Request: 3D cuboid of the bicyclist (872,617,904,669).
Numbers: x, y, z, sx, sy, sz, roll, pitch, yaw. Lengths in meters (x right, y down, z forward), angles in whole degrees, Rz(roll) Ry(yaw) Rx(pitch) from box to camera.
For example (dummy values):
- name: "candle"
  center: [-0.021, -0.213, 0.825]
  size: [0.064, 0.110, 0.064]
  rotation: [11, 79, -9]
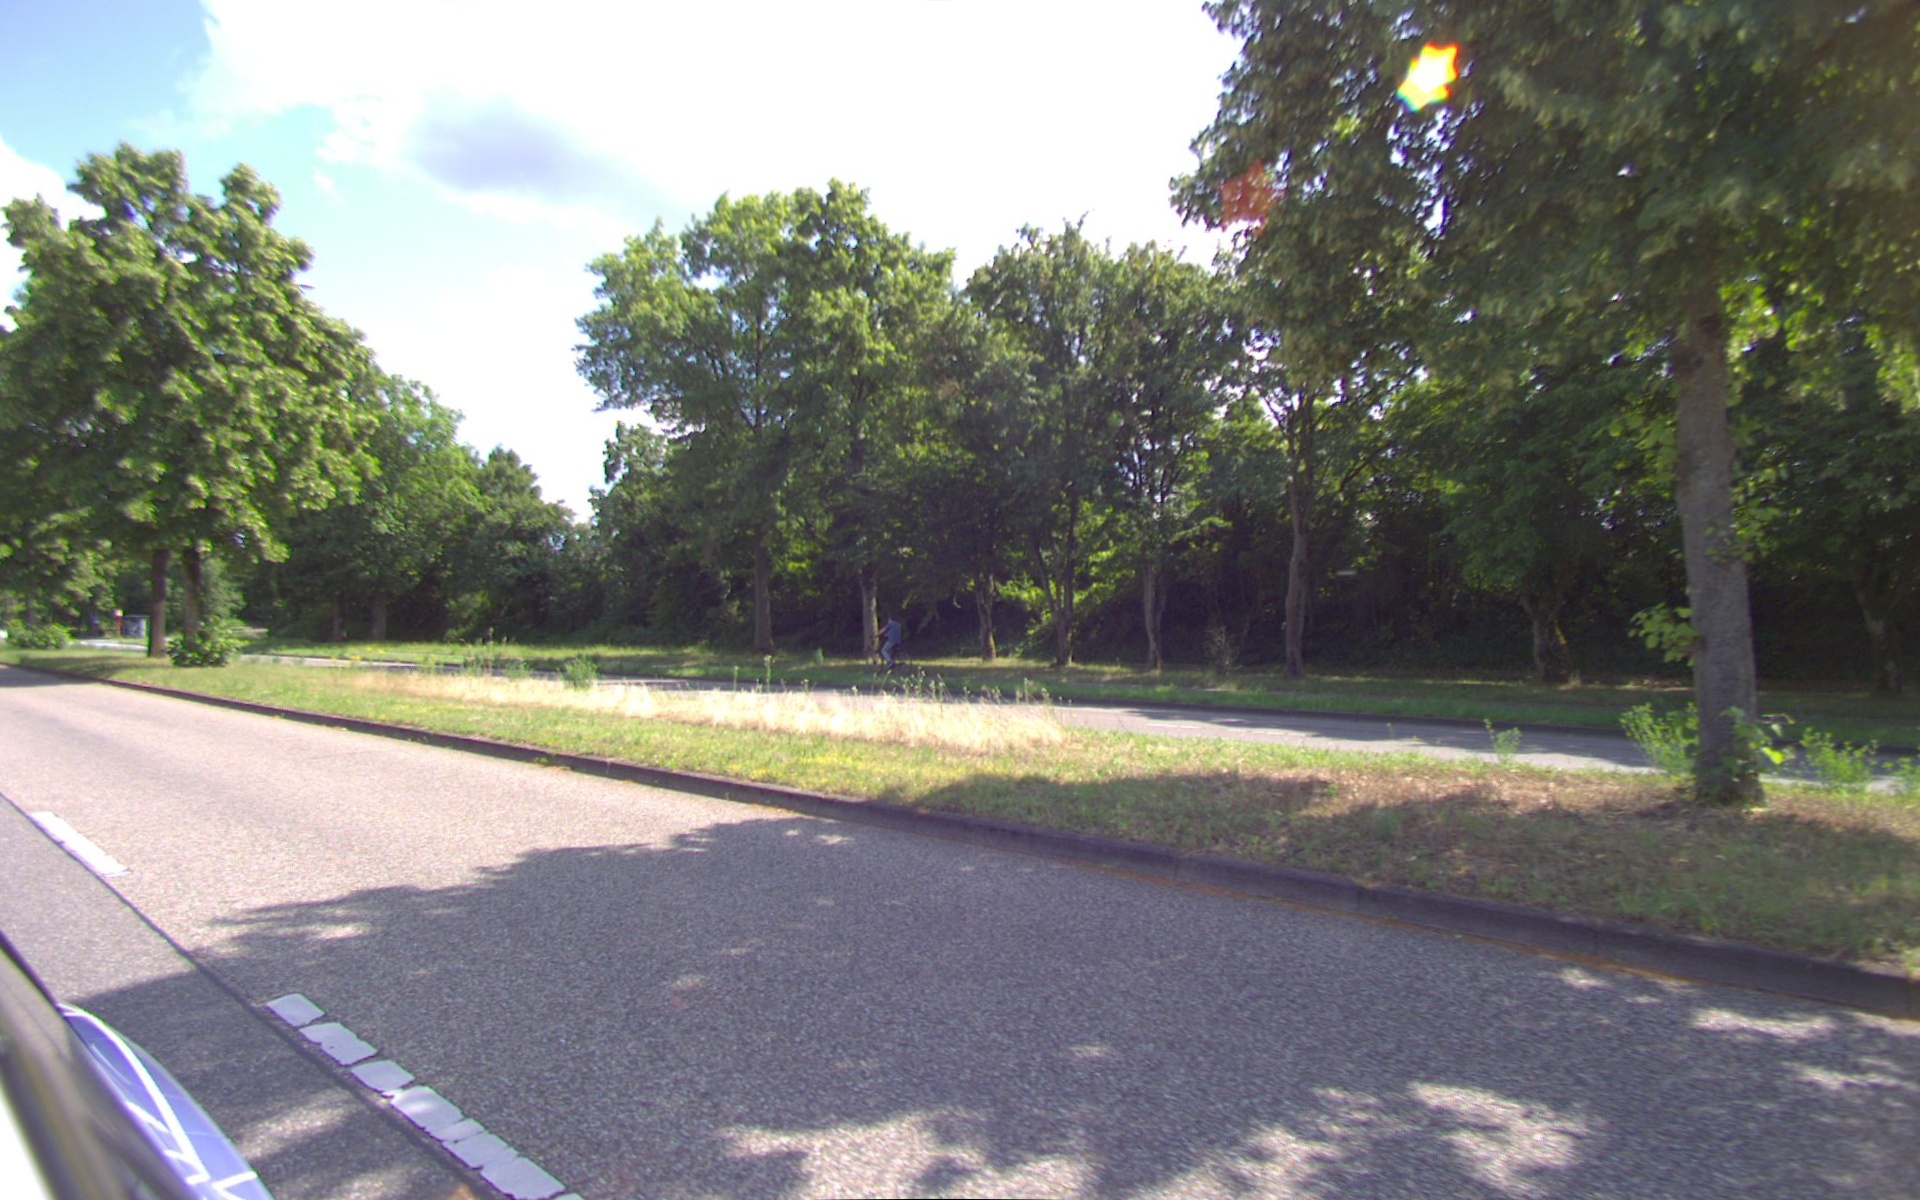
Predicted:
- name: "bicyclist"
  center: [-2.077, 1.230, 29.150]
  size: [0.729, 1.459, 0.611]
  rotation: [-2, -2, 43]

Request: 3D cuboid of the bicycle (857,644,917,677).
- name: "bicycle"
  center: [-2.126, 1.732, 29.185]
  size: [1.915, 0.885, 0.611]
  rotation: [-2, -2, 44]
